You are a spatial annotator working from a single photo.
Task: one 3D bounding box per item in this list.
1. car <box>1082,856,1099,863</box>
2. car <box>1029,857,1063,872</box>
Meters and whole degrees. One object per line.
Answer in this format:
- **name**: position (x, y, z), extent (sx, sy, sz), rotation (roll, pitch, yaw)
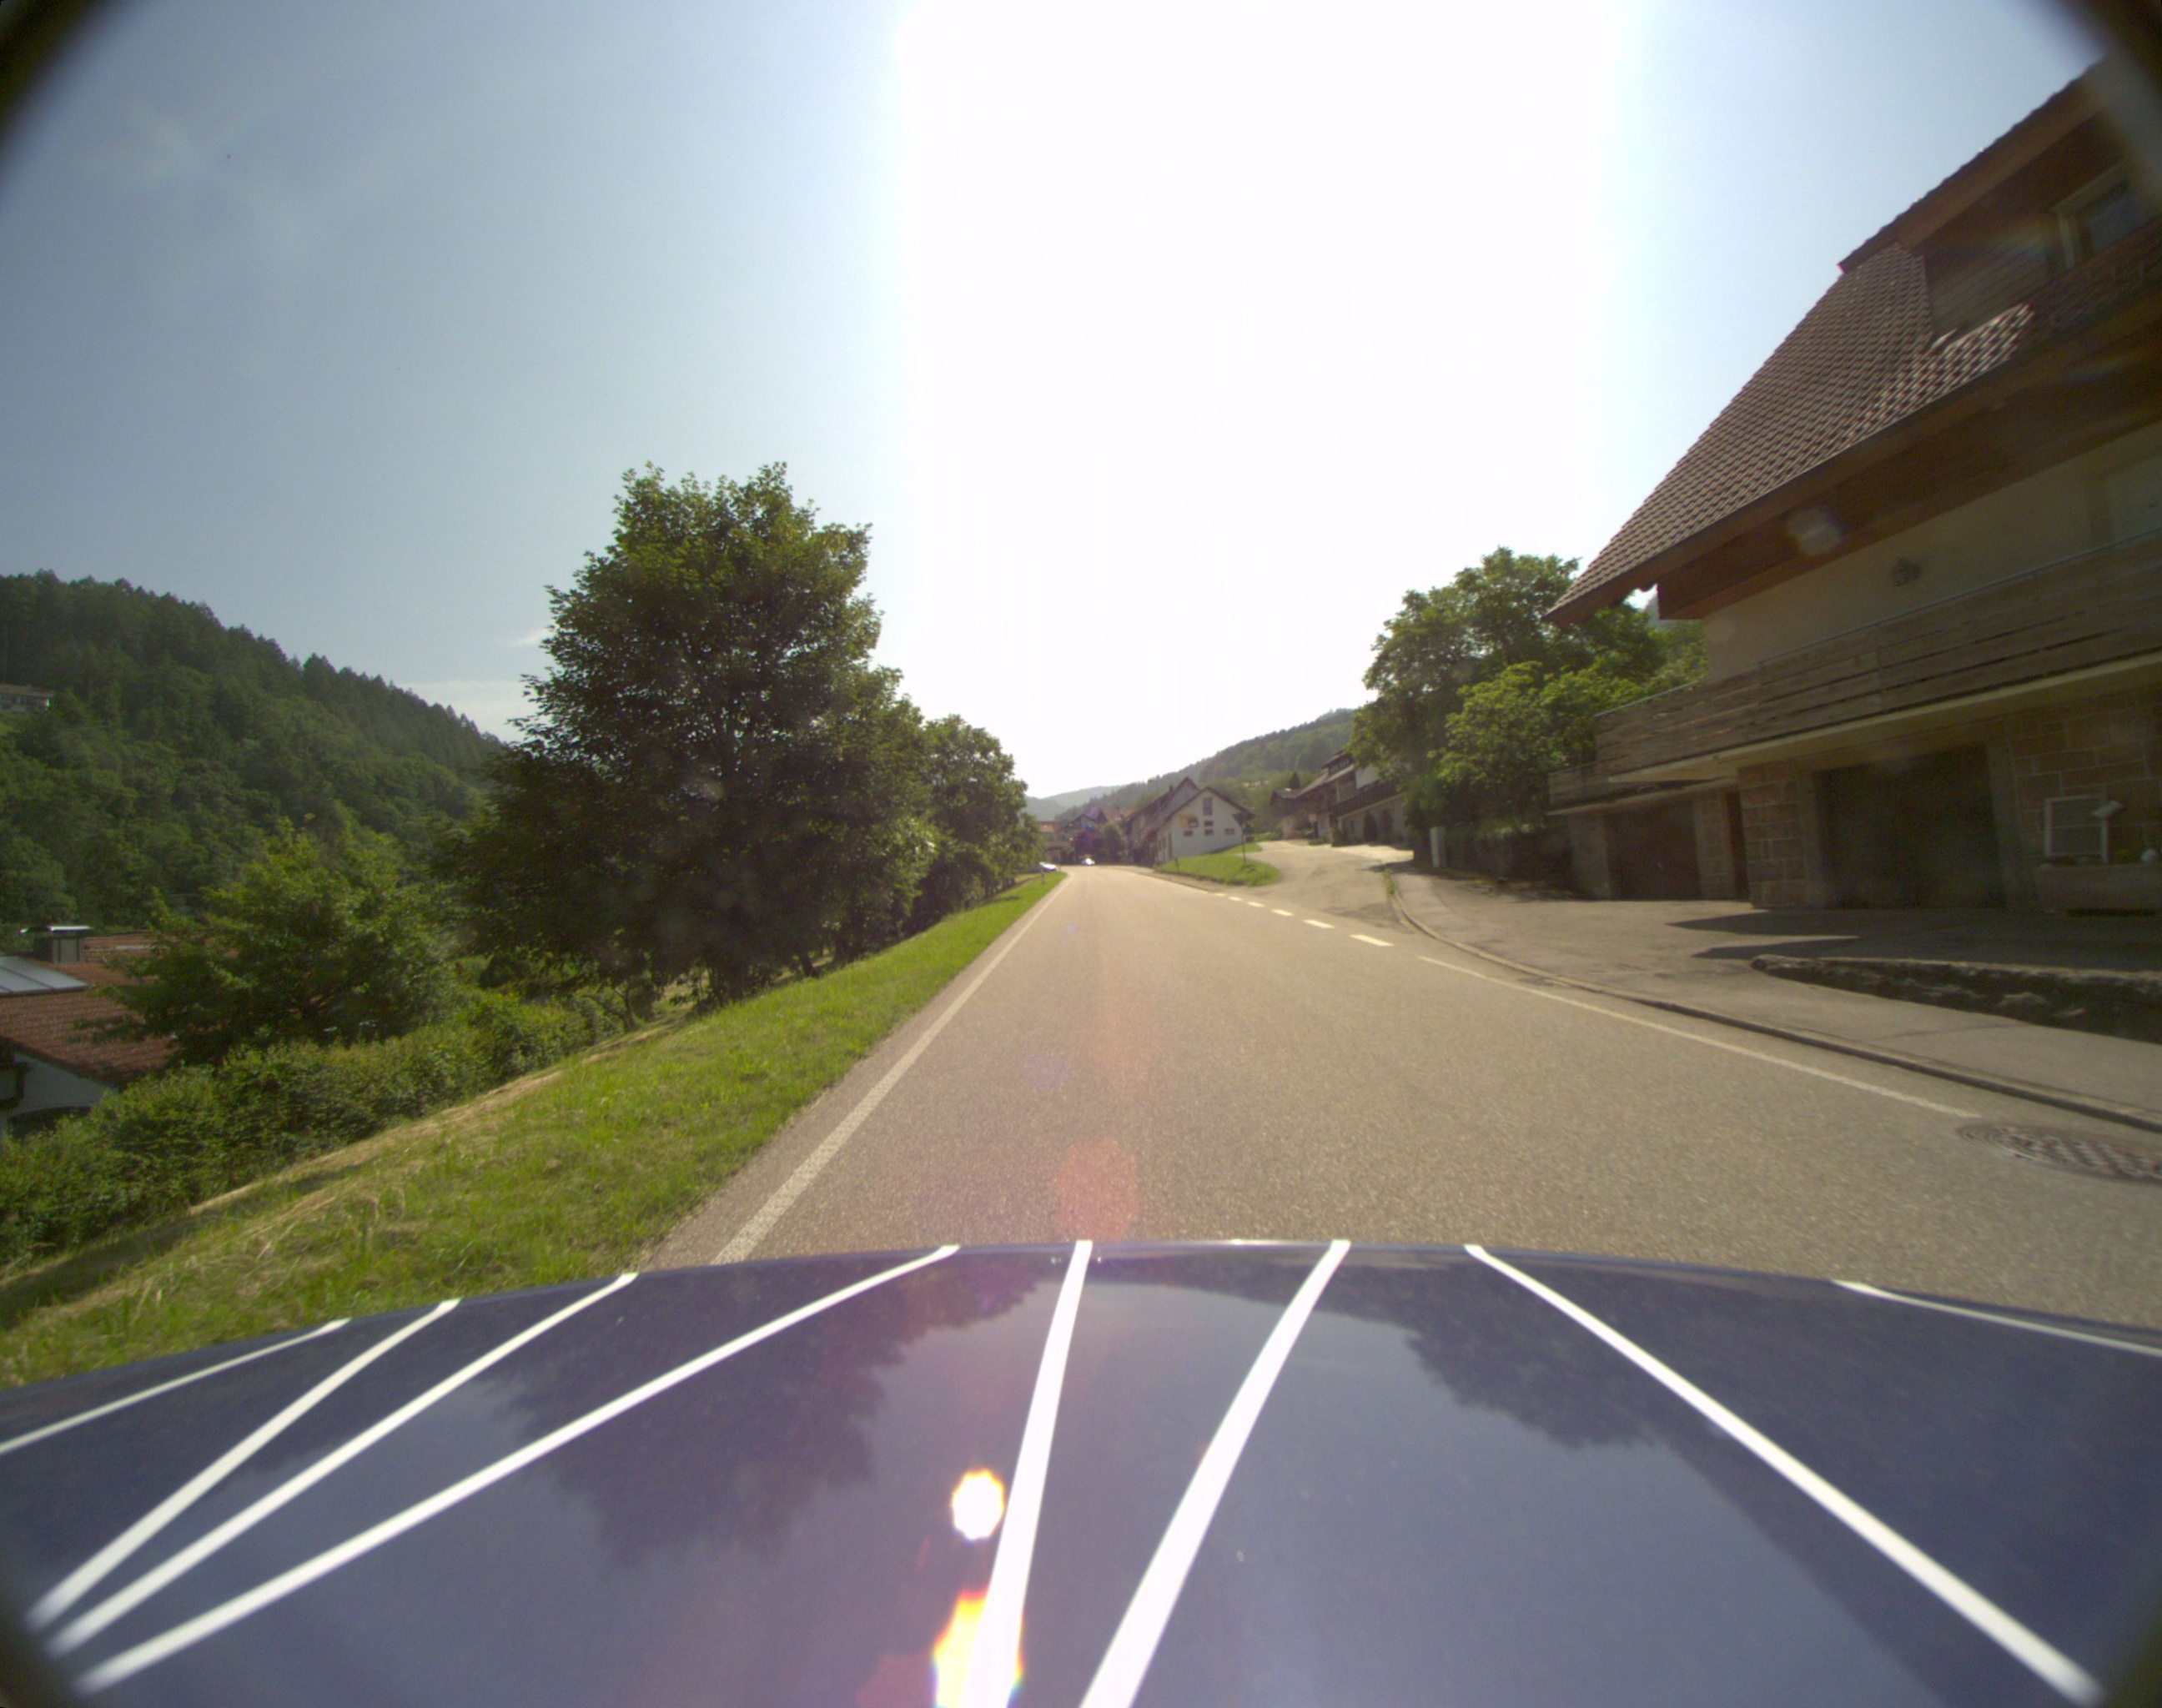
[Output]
- **car**: position (1.888, 1.137, 150.506), extent (1.789, 1.331, 4.689), rotation (-2, 0, -18)
- **car**: position (-4.760, 1.420, 101.663), extent (1.908, 1.562, 4.451), rotation (-7, 1, -45)
